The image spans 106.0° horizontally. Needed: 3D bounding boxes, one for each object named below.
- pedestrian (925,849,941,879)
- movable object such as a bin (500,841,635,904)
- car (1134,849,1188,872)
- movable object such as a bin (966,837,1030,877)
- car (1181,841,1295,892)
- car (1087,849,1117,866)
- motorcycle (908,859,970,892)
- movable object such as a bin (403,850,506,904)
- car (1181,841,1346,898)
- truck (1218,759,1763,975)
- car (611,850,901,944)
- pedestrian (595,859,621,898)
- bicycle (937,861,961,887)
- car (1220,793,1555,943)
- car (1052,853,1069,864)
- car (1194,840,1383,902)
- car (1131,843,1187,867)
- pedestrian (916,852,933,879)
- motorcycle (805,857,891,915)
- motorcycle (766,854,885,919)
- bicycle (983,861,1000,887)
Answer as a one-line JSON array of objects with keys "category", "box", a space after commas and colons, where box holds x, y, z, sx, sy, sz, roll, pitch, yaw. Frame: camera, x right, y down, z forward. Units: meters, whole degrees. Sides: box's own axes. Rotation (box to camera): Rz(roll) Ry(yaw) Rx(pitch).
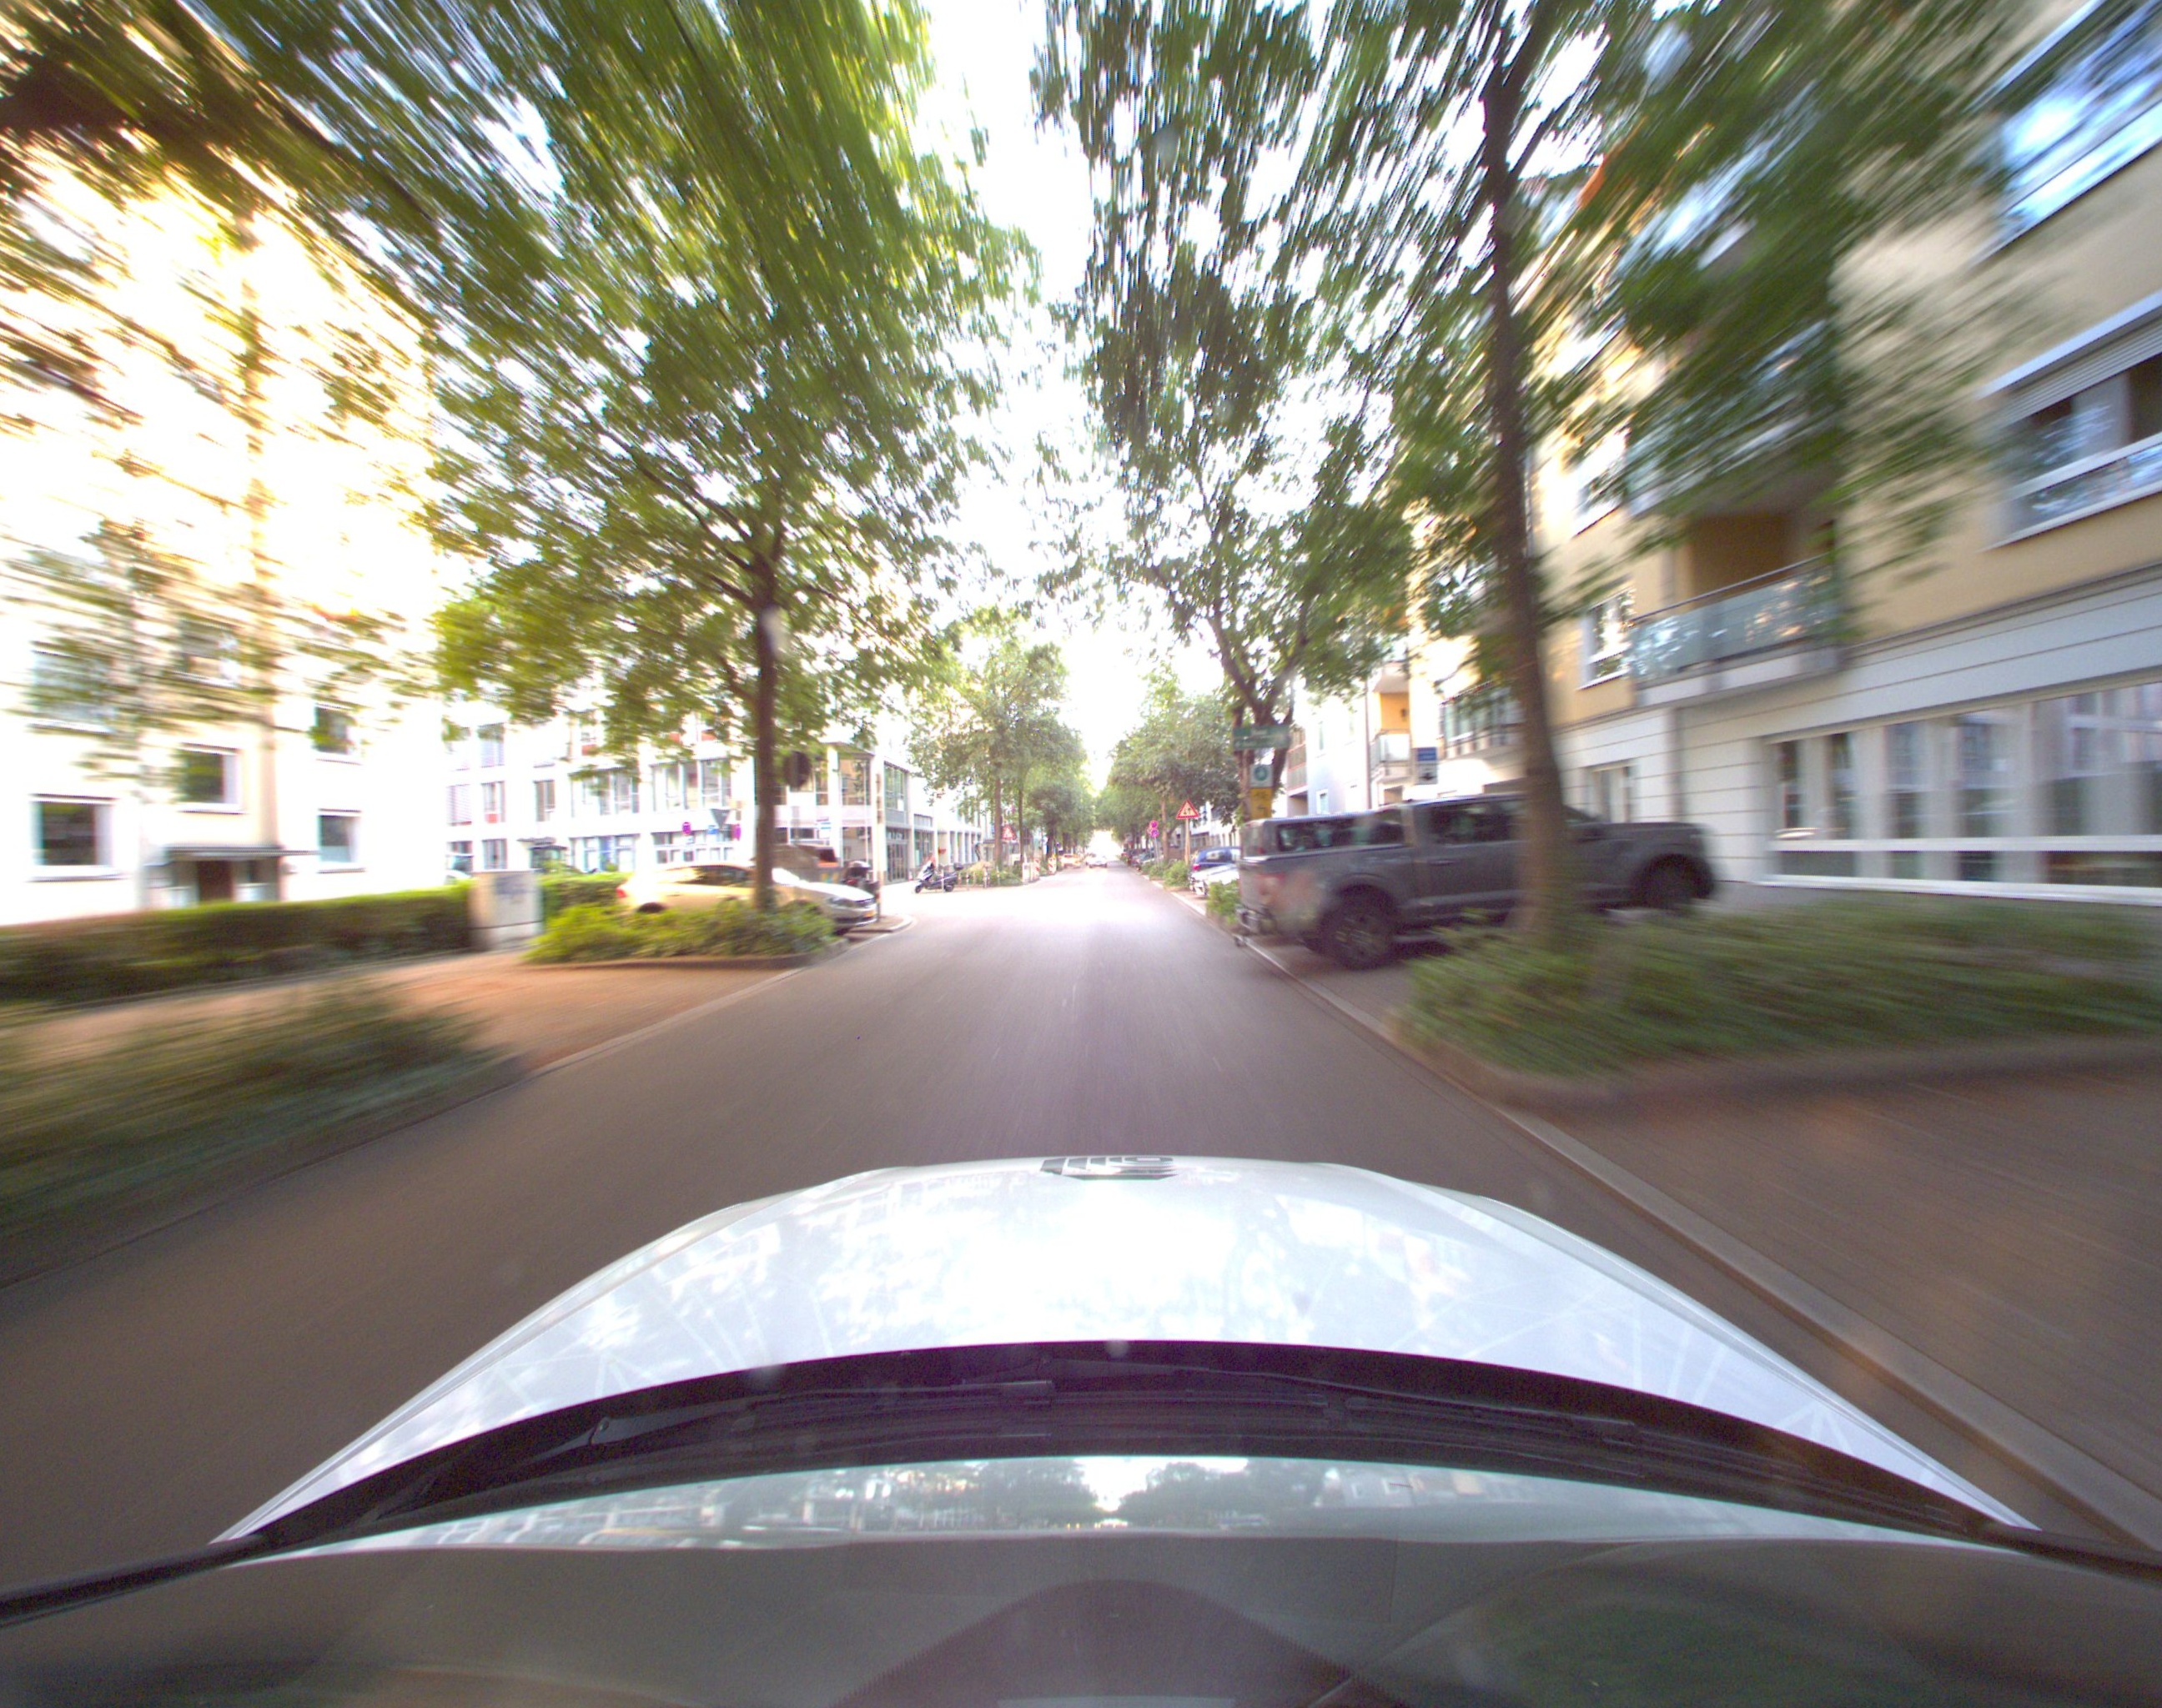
[{"category": "pedestrian", "box": [-8.554, 0.580, 46.974, 0.736, 1.690, 0.607, -2, 0, 3]}, {"category": "movable object such as a bin", "box": [-23.539, 0.843, 37.314, 5.581, 2.692, 2.297, -2, 0, 22]}, {"category": "car", "box": [6.025, 0.497, 61.938, 3.970, 1.585, 2.002, -2, 0, 3]}, {"category": "movable object such as a bin", "box": [-5.383, 0.191, 53.430, 4.038, 2.383, 2.781, -2, 0, -4]}, {"category": "car", "box": [5.254, 0.416, 27.601, 3.526, 1.564, 1.832, -2, 0, 1]}, {"category": "car", "box": [2.192, 0.357, 84.182, 1.994, 1.613, 4.139, -2, 1, 18]}, {"category": "motorcycle", "box": [-6.120, 0.917, 35.175, 2.368, 1.281, 1.055, -2, 1, -39]}, {"category": "movable object such as a bin", "box": [-31.315, 1.128, 40.732, 4.048, 2.540, 2.297, -2, 0, 22]}, {"category": "car", "box": [5.476, 0.446, 24.934, 4.605, 1.571, 2.011, -1, 0, 1]}, {"category": "truck", "box": [4.890, 0.159, 10.520, 5.865, 2.311, 2.214, -2, 0, 2]}, {"category": "car", "box": [-6.011, 0.763, 15.443, 4.598, 1.552, 2.077, -1, 0, 4]}, {"category": "pedestrian", "box": [-22.748, 1.167, 39.176, 0.895, 1.851, 0.866, -2, 0, -40]}, {"category": "bicycle", "box": [-6.284, 0.937, 38.887, 0.680, 1.152, 1.982, -2, 1, 3]}, {"category": "car", "box": [4.770, 0.197, 13.267, 4.585, 2.066, 2.197, -2, 0, 0]}, {"category": "car", "box": [-2.455, 0.519, 98.133, 1.989, 1.288, 3.996, -2, 0, -2]}, {"category": "car", "box": [5.622, 0.444, 22.535, 4.762, 1.520, 1.993, -1, 0, 3]}, {"category": "car", "box": [6.732, 0.105, 70.973, 4.722, 2.013, 2.000, -1, 0, 1]}, {"category": "pedestrian", "box": [-9.079, 0.682, 47.282, 0.767, 1.536, 0.643, -2, 0, 1]}, {"category": "motorcycle", "box": [-6.095, 0.833, 21.235, 2.225, 1.420, 0.858, -2, 0, 32]}, {"category": "motorcycle", "box": [-5.988, 0.743, 19.156, 2.442, 1.420, 0.912, -2, 0, 3]}, {"category": "bicycle", "box": [-4.255, 0.957, 38.866, 0.681, 1.152, 1.978, -2, 1, -3]}]
